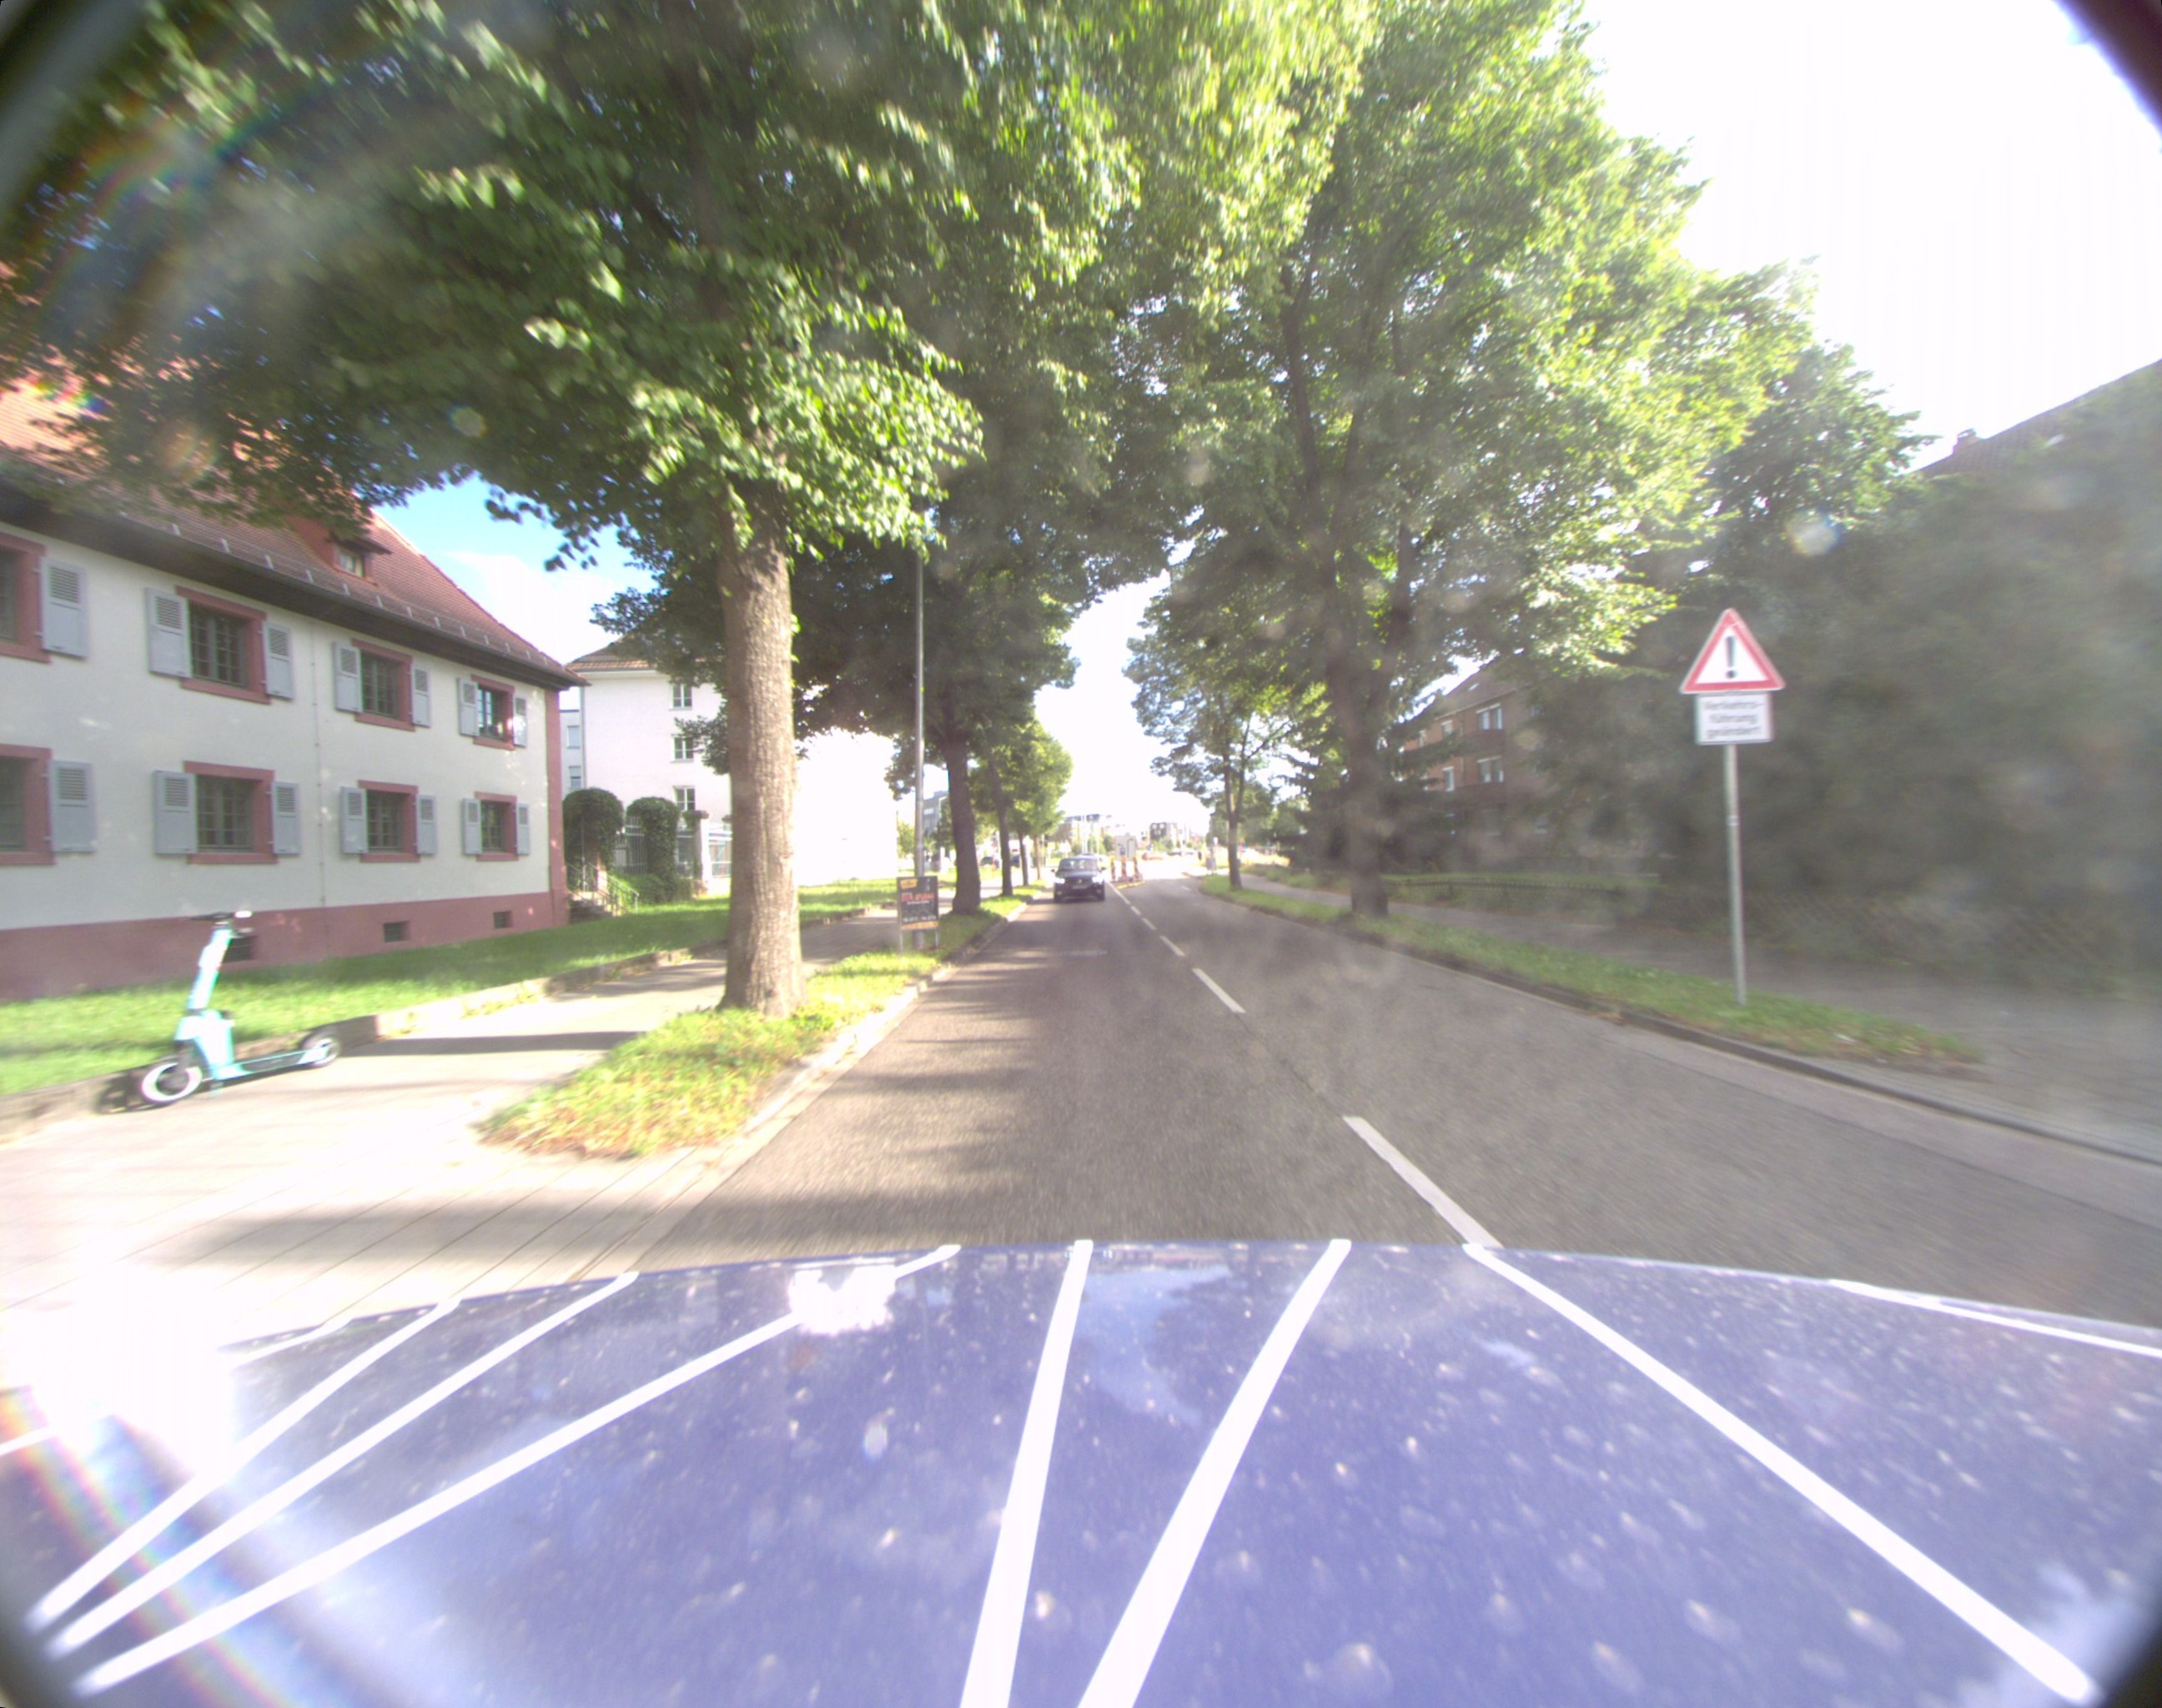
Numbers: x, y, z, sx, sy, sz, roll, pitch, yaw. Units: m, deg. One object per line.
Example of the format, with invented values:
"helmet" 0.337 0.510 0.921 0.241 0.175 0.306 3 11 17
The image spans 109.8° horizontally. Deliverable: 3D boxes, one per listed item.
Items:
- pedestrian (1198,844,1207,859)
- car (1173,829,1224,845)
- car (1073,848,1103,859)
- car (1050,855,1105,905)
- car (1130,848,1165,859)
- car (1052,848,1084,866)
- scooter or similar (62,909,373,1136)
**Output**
"pedestrian" 14.498 -0.273 90.400 0.710 1.813 0.744 -3 1 -20
"car" 15.135 -2.177 98.156 2.482 1.856 6.235 -4 2 -43
"car" 1.104 -0.060 113.962 4.257 1.477 2.001 -2 1 9
"car" -0.063 0.909 28.465 1.821 1.648 4.243 -3 0 1
"car" 10.082 -0.079 115.165 4.870 1.515 2.303 -3 1 -13
"car" -1.539 0.321 87.702 1.841 1.856 5.394 -3 1 -22
"scooter or similar" -5.957 1.089 5.366 0.580 1.284 1.381 0 1 1
